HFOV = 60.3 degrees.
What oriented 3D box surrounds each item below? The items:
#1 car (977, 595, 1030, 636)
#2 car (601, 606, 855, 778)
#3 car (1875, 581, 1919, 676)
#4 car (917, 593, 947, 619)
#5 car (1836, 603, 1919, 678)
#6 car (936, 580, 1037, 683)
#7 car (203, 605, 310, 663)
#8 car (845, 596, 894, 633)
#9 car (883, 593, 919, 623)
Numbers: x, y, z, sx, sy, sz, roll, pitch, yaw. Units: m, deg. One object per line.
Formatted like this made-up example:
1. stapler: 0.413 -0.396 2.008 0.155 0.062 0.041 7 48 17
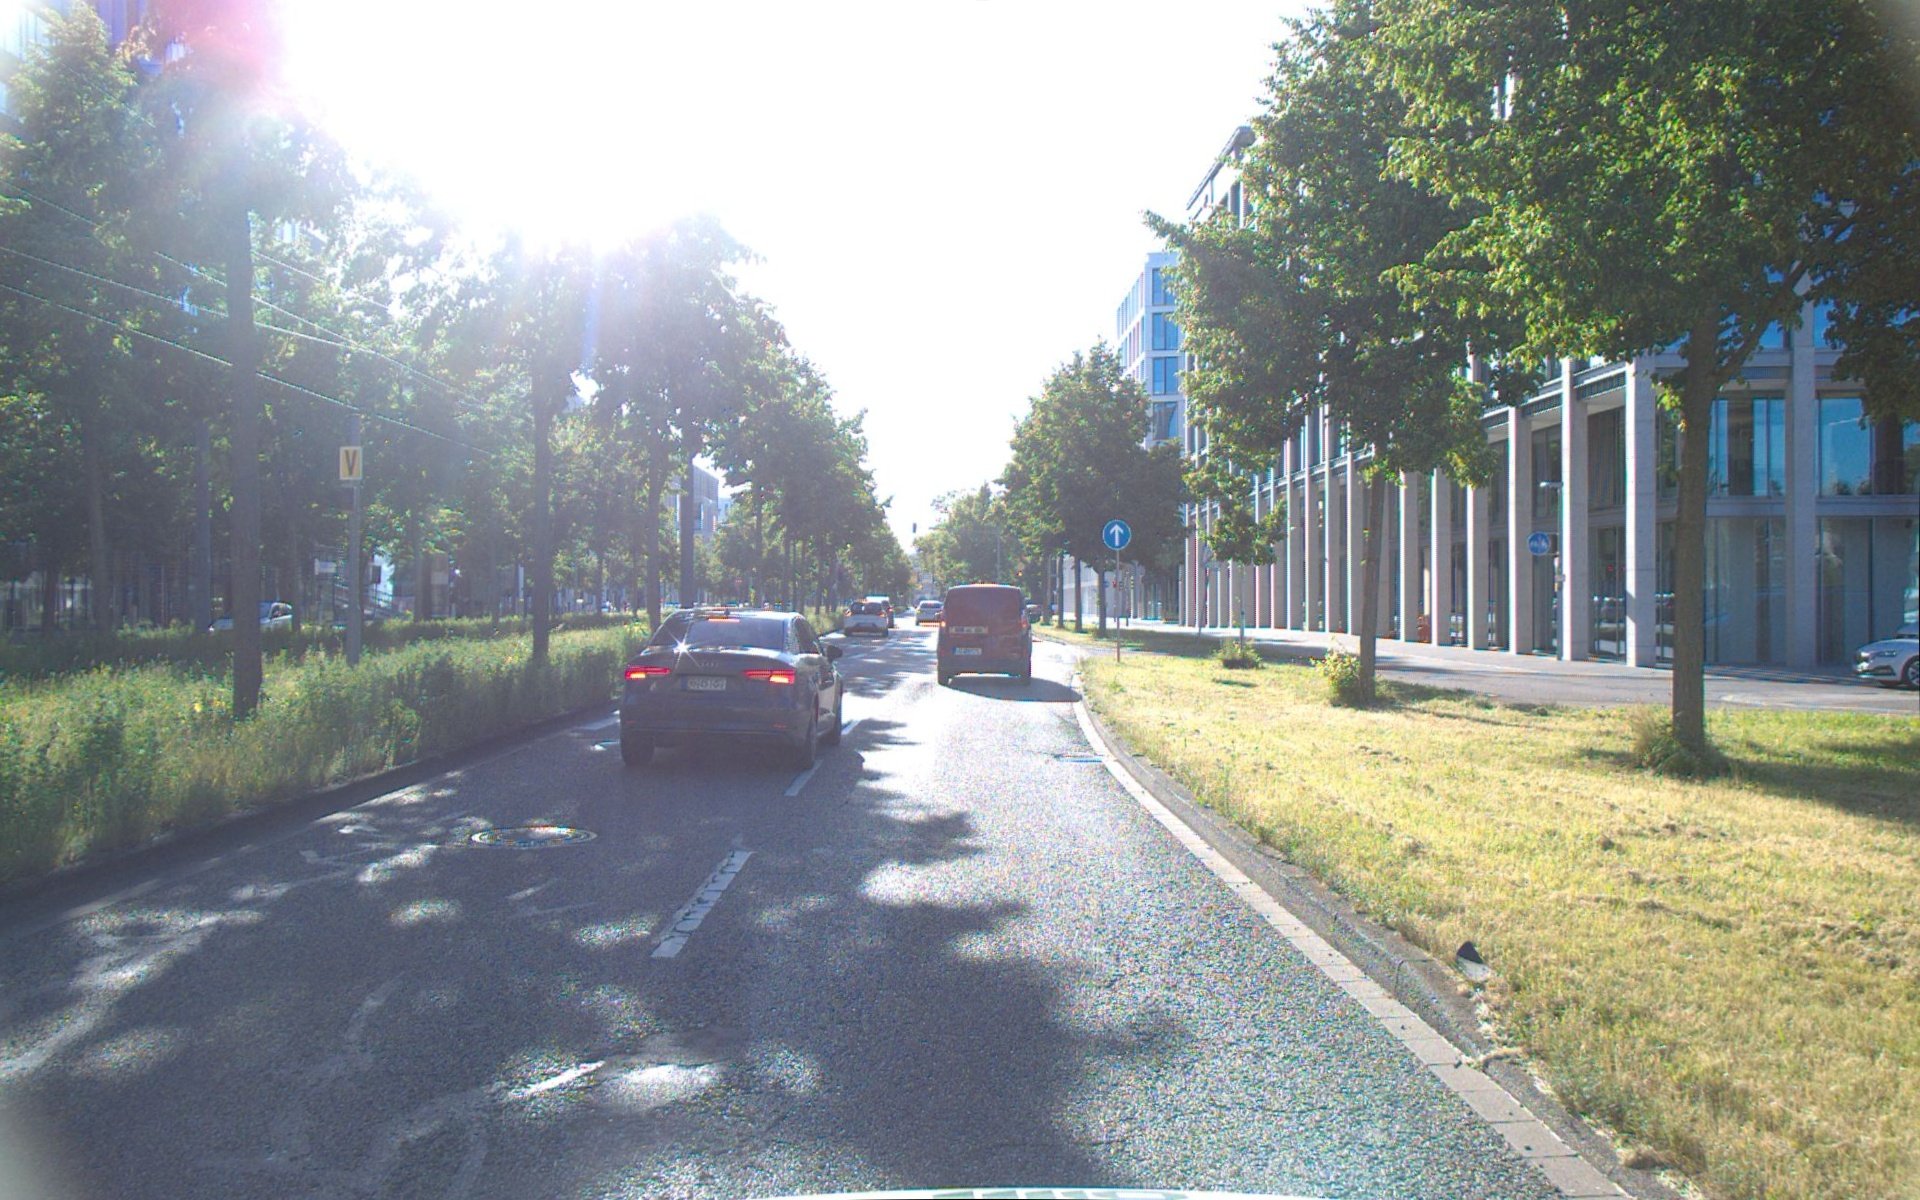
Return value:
1. car: 1.669 0.588 65.191 1.687 1.450 3.814 2 1 -4
2. car: -2.065 0.768 15.850 1.685 1.390 4.147 1 0 2
3. car: 23.031 0.598 36.176 4.962 2.016 1.938 0 0 1
4. car: -1.656 0.345 97.073 1.686 1.450 3.815 0 0 -2
5. car: 19.929 0.830 32.522 4.416 1.417 1.775 2 0 12
6. car: 0.442 0.551 31.397 1.761 1.808 3.999 0 0 -1
7. car: -23.135 1.078 54.554 1.761 1.718 4.320 1 1 -1
8. car: -3.696 0.582 67.575 1.904 1.466 3.997 0 0 -3
9. car: -3.185 0.428 89.707 1.805 1.561 3.940 0 0 0
